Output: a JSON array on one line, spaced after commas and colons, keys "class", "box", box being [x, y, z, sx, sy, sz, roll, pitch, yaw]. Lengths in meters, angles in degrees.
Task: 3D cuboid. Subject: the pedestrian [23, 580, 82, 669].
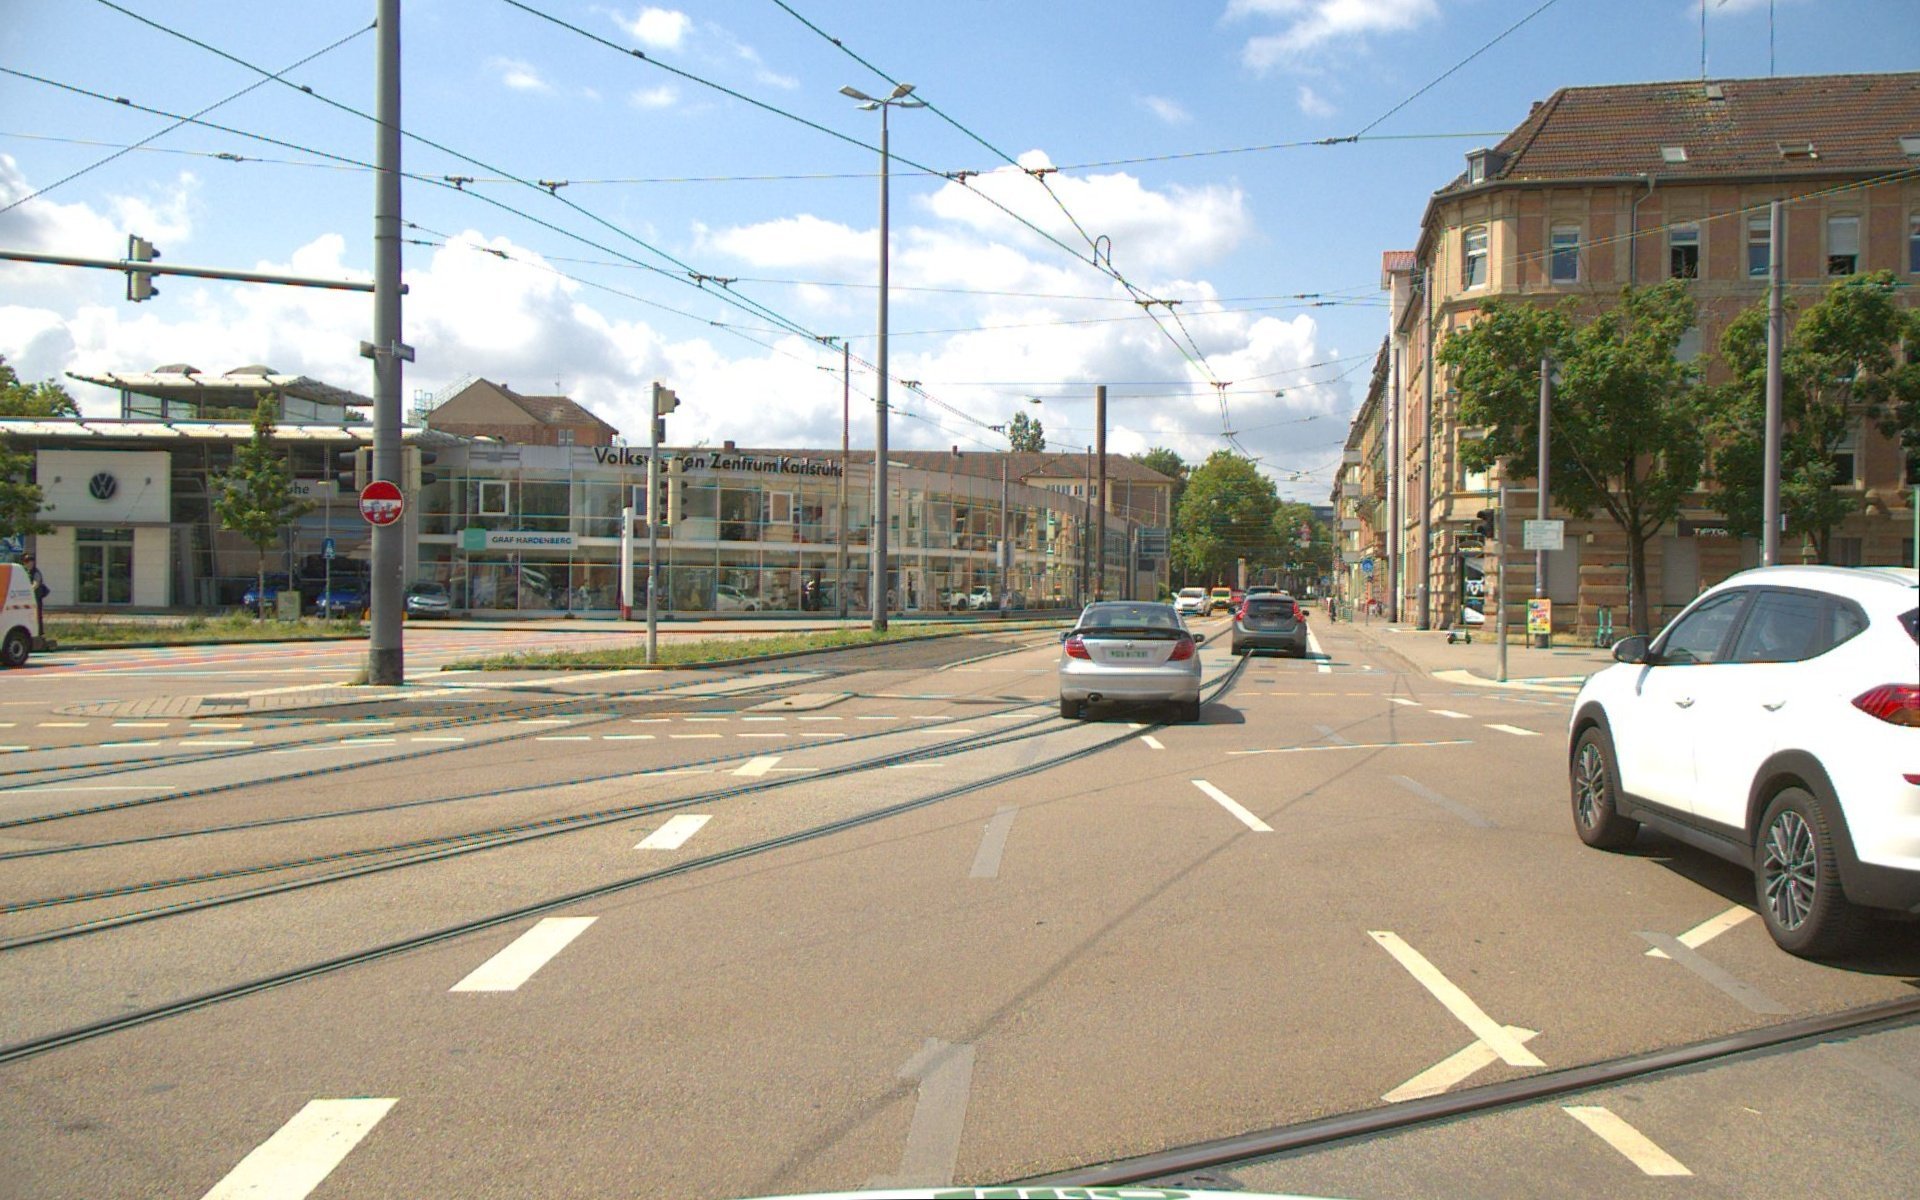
[{"class": "pedestrian", "box": [-18.893, 0.501, 34.452, 0.744, 1.832, 0.765, 1, 0, 8]}]

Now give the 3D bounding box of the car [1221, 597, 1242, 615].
[{"class": "car", "box": [26.115, 0.574, 159.182, 1.841, 1.722, 3.960, 1, 0, 11]}]

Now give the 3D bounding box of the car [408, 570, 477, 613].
[{"class": "car", "box": [-21.143, -0.323, 67.755, 1.956, 1.601, 3.993, 2, -1, -7]}]

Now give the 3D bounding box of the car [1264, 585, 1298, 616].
[{"class": "car", "box": [18.332, 0.007, 94.434, 1.841, 1.670, 3.960, 1, 0, 11]}]

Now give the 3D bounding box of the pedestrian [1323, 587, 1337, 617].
[{"class": "pedestrian", "box": [18.840, 0.115, 84.227, 0.677, 1.483, 0.680, 1, -1, 11]}]

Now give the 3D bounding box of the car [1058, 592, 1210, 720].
[{"class": "car", "box": [2.248, 0.629, 20.960, 1.704, 1.416, 4.183, 1, 0, 7]}]

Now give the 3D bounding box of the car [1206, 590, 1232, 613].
[{"class": "car", "box": [20.334, 0.124, 129.741, 1.841, 1.722, 3.960, 1, 0, 11]}]

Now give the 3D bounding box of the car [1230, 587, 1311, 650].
[{"class": "car", "box": [7.609, 0.418, 40.634, 1.841, 1.444, 3.960, 1, 0, 10]}]

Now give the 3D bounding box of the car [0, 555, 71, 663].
[{"class": "car", "box": [-17.247, 0.156, 27.657, 1.681, 1.832, 4.744, 0, 0, 8]}]

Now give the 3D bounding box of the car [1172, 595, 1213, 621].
[{"class": "car", "box": [13.747, 0.456, 97.625, 1.841, 1.444, 3.959, 1, 0, 17]}]

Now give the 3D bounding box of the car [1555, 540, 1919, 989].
[{"class": "car", "box": [4.566, 0.588, 8.224, 1.842, 1.670, 4.234, 1, 1, 3]}]

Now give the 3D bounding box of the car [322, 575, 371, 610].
[{"class": "car", "box": [-24.284, -0.269, 65.530, 1.623, 1.272, 3.979, 2, -1, -18]}]

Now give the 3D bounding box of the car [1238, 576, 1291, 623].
[{"class": "car", "box": [11.342, -0.018, 61.658, 1.841, 1.670, 3.960, 1, 0, 10]}]

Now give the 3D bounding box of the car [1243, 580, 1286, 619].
[{"class": "car", "box": [13.808, -0.034, 74.909, 1.841, 1.670, 3.960, 1, 0, 11]}]

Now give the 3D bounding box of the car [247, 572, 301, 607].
[{"class": "car", "box": [-27.264, -0.391, 65.786, 1.623, 1.272, 3.979, 2, -1, -18]}]

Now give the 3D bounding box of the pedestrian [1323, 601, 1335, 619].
[{"class": "pedestrian", "box": [18.747, 0.515, 84.067, 0.513, 0.922, 1.562, 1, -1, 10]}]

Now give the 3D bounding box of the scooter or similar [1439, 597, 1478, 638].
[{"class": "scooter or similar", "box": [14.877, 0.530, 49.369, 1.508, 1.194, 0.377, 2, -2, -42]}]
